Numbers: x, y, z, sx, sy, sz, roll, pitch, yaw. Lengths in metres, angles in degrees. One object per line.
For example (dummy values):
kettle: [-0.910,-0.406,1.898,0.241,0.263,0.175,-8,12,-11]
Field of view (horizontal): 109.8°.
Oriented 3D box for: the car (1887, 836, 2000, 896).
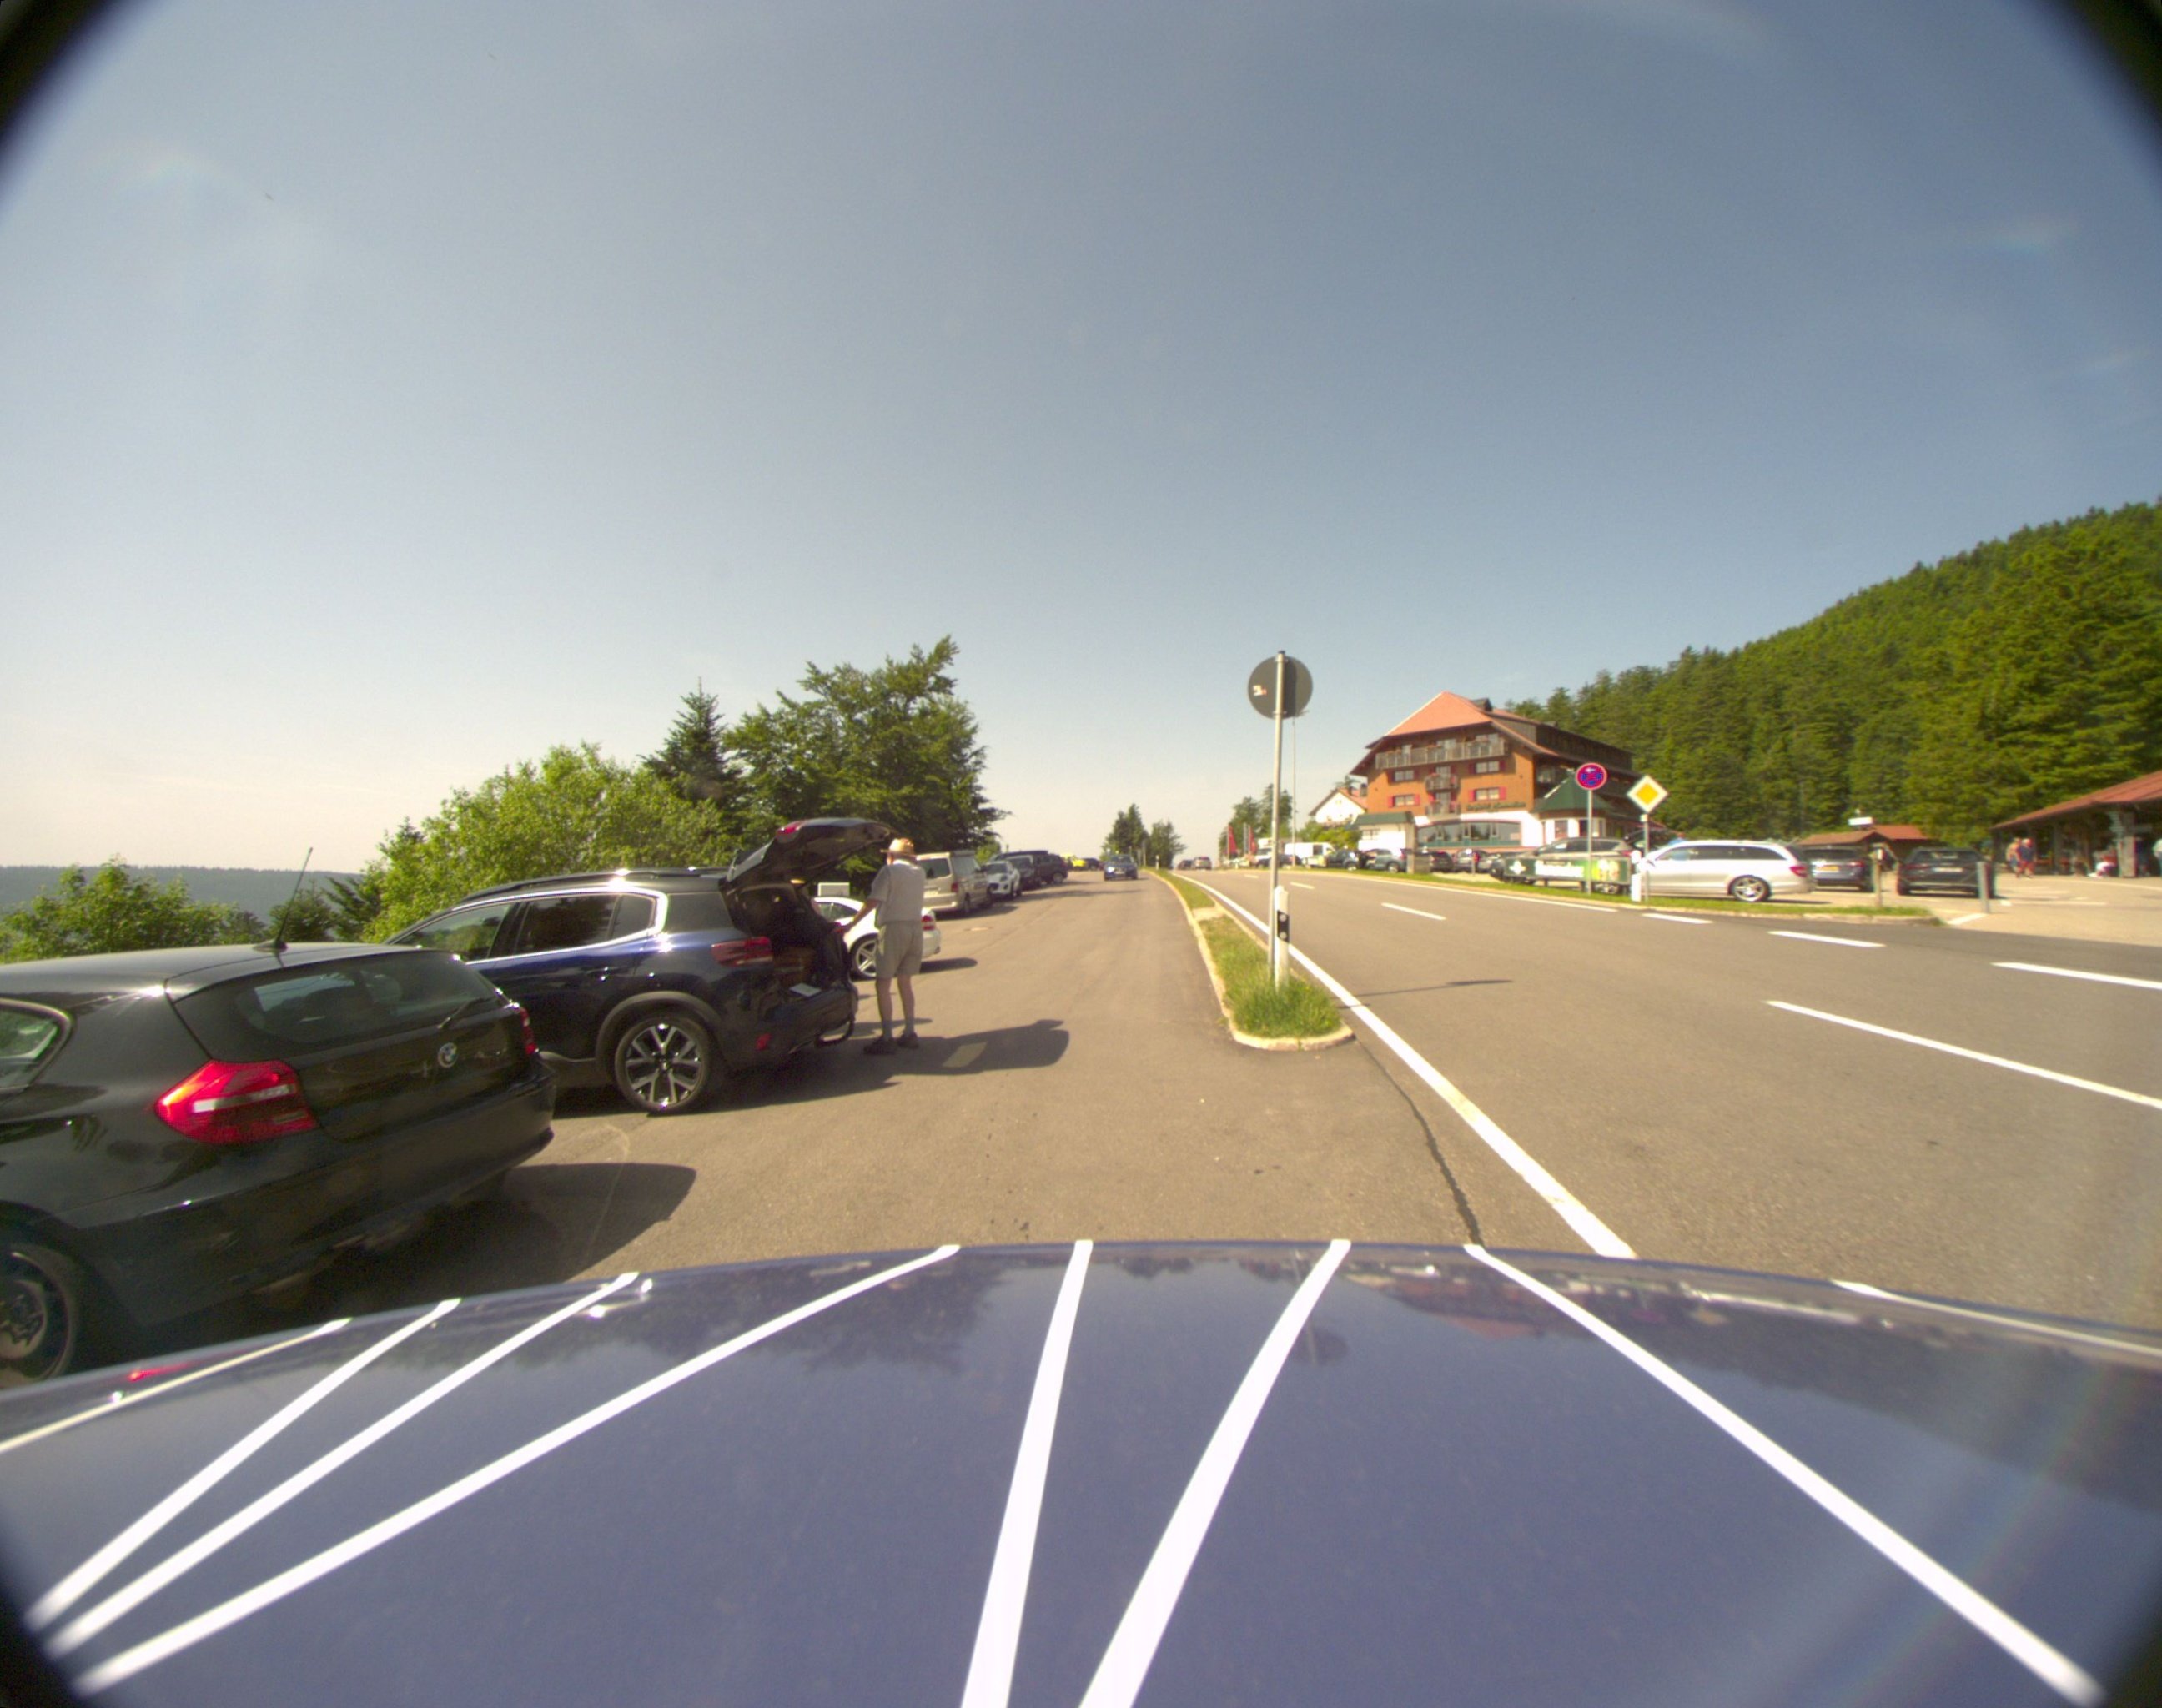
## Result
car: [25.056,0.258,22.118,4.007,1.521,1.994,-2,3,-41]

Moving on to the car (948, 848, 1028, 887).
car: [-5.714,0.806,46.376,4.462,1.914,1.874,-5,1,-16]

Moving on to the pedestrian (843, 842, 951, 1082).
pedestrian: [-1.569,0.870,6.472,0.737,1.859,0.757,-3,-2,-14]

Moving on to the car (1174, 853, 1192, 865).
car: [14.092,0.687,105.193,1.998,1.638,4.568,-1,0,3]

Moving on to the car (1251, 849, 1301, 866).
car: [18.258,0.290,71.224,4.083,1.518,1.828,0,1,42]

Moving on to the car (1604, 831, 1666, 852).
car: [48.199,-1.072,66.125,1.924,1.706,4.083,-2,1,-43]

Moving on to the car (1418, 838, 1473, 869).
car: [25.287,-0.065,52.620,4.007,2.002,1.994,-2,1,-42]

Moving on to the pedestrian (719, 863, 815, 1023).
pedestrian: [-3.796,1.045,9.240,0.735,1.790,0.748,-4,2,-3]

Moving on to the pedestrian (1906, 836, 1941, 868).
pedestrian: [44.208,-0.125,39.889,0.931,1.646,0.881,-2,1,23]

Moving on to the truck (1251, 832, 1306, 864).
truck: [25.372,-0.836,97.159,2.876,3.798,9.035,-3,-1,41]

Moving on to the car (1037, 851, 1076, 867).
car: [-2.646,0.550,82.204,3.908,1.605,1.877,-1,1,5]

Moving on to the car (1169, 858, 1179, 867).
car: [17.196,1.540,141.175,1.710,1.429,4.451,-1,1,5]

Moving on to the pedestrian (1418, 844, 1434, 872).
pedestrian: [20.403,0.235,44.934,0.744,1.615,0.684,-1,1,33]

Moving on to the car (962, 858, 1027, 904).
car: [-3.381,1.026,30.392,1.875,1.538,4.000,-5,0,2]

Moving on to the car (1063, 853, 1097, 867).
car: [-0.103,0.690,90.711,3.908,1.605,1.877,-1,1,5]

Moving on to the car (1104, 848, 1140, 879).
car: [2.305,0.465,42.269,1.874,1.605,3.913,-1,1,3]

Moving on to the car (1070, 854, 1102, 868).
car: [0.719,0.886,97.386,3.908,1.605,1.877,-1,1,5]

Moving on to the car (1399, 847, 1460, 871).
car: [21.901,0.300,47.960,1.721,1.422,3.997,-1,1,-5]

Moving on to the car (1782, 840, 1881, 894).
car: [24.727,0.354,25.004,4.007,1.521,1.994,-2,3,-41]

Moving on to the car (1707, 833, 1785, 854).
car: [56.368,-0.895,64.452,1.924,1.706,4.832,-2,1,-43]

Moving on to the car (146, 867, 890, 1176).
car: [-3.995,1.151,5.904,4.353,1.617,1.870,-6,1,5]

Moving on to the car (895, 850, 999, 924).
car: [-4.084,0.941,24.059,1.861,1.924,4.611,-5,0,6]

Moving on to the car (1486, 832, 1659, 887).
car: [16.080,0.155,25.018,4.539,1.646,1.725,0,1,45]

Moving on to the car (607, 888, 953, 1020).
car: [-4.268,1.380,11.418,4.413,1.288,1.754,-5,0,-14]

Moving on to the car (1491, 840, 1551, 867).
car: [25.790,-0.056,44.475,4.103,1.504,1.819,-2,1,-41]

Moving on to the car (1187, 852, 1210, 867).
car: [12.245,0.550,79.522,1.883,1.466,4.715,-3,0,3]

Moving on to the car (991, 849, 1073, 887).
car: [-2.647,0.746,40.887,4.002,1.609,1.874,-5,1,-16]

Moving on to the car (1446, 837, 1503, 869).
car: [25.953,-0.067,50.116,4.007,2.002,1.994,-2,1,-42]

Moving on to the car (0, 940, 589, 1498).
car: [-4.628,1.293,3.057,4.091,1.368,1.702,-5,1,1]

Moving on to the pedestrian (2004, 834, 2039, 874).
pedestrian: [39.956,-0.011,32.299,0.782,1.646,0.881,-1,1,42]

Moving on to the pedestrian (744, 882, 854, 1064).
pedestrian: [-2.672,1.108,7.258,0.716,1.604,0.536,-4,2,1]

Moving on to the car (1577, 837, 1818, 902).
car: [15.165,0.330,18.882,1.725,1.422,4.489,-2,1,-45]

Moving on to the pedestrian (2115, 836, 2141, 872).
pedestrian: [41.000,0.002,29.755,0.474,1.423,0.544,-3,1,-45]

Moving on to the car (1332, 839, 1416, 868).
car: [17.171,-0.017,44.638,1.828,1.619,4.259,-2,1,-44]

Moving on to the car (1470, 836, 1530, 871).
car: [26.160,-0.032,47.417,4.007,2.002,1.994,-2,1,-42]

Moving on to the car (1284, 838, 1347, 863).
car: [27.754,-0.420,89.888,6.949,2.774,2.671,-1,1,22]

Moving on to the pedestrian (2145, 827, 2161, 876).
pedestrian: [36.234,-0.084,25.491,0.506,1.646,0.472,-1,1,38]

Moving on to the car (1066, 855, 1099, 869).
car: [0.174,0.972,93.473,3.908,1.605,1.877,-1,1,5]

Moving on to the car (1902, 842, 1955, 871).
car: [50.601,0.104,45.370,4.007,1.521,1.994,-2,3,-41]

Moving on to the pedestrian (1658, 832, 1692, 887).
pedestrian: [18.016,0.151,23.046,0.744,1.626,0.849,0,1,43]

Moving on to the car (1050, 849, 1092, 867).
car: [-1.096,0.462,84.290,4.455,1.914,1.877,-1,1,5]

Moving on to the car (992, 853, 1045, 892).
car: [-2.923,0.831,36.347,1.875,1.609,4.000,-5,0,2]

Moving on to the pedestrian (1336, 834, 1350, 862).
pedestrian: [18.756,-0.419,54.443,0.717,2.002,0.803,-2,1,2]
